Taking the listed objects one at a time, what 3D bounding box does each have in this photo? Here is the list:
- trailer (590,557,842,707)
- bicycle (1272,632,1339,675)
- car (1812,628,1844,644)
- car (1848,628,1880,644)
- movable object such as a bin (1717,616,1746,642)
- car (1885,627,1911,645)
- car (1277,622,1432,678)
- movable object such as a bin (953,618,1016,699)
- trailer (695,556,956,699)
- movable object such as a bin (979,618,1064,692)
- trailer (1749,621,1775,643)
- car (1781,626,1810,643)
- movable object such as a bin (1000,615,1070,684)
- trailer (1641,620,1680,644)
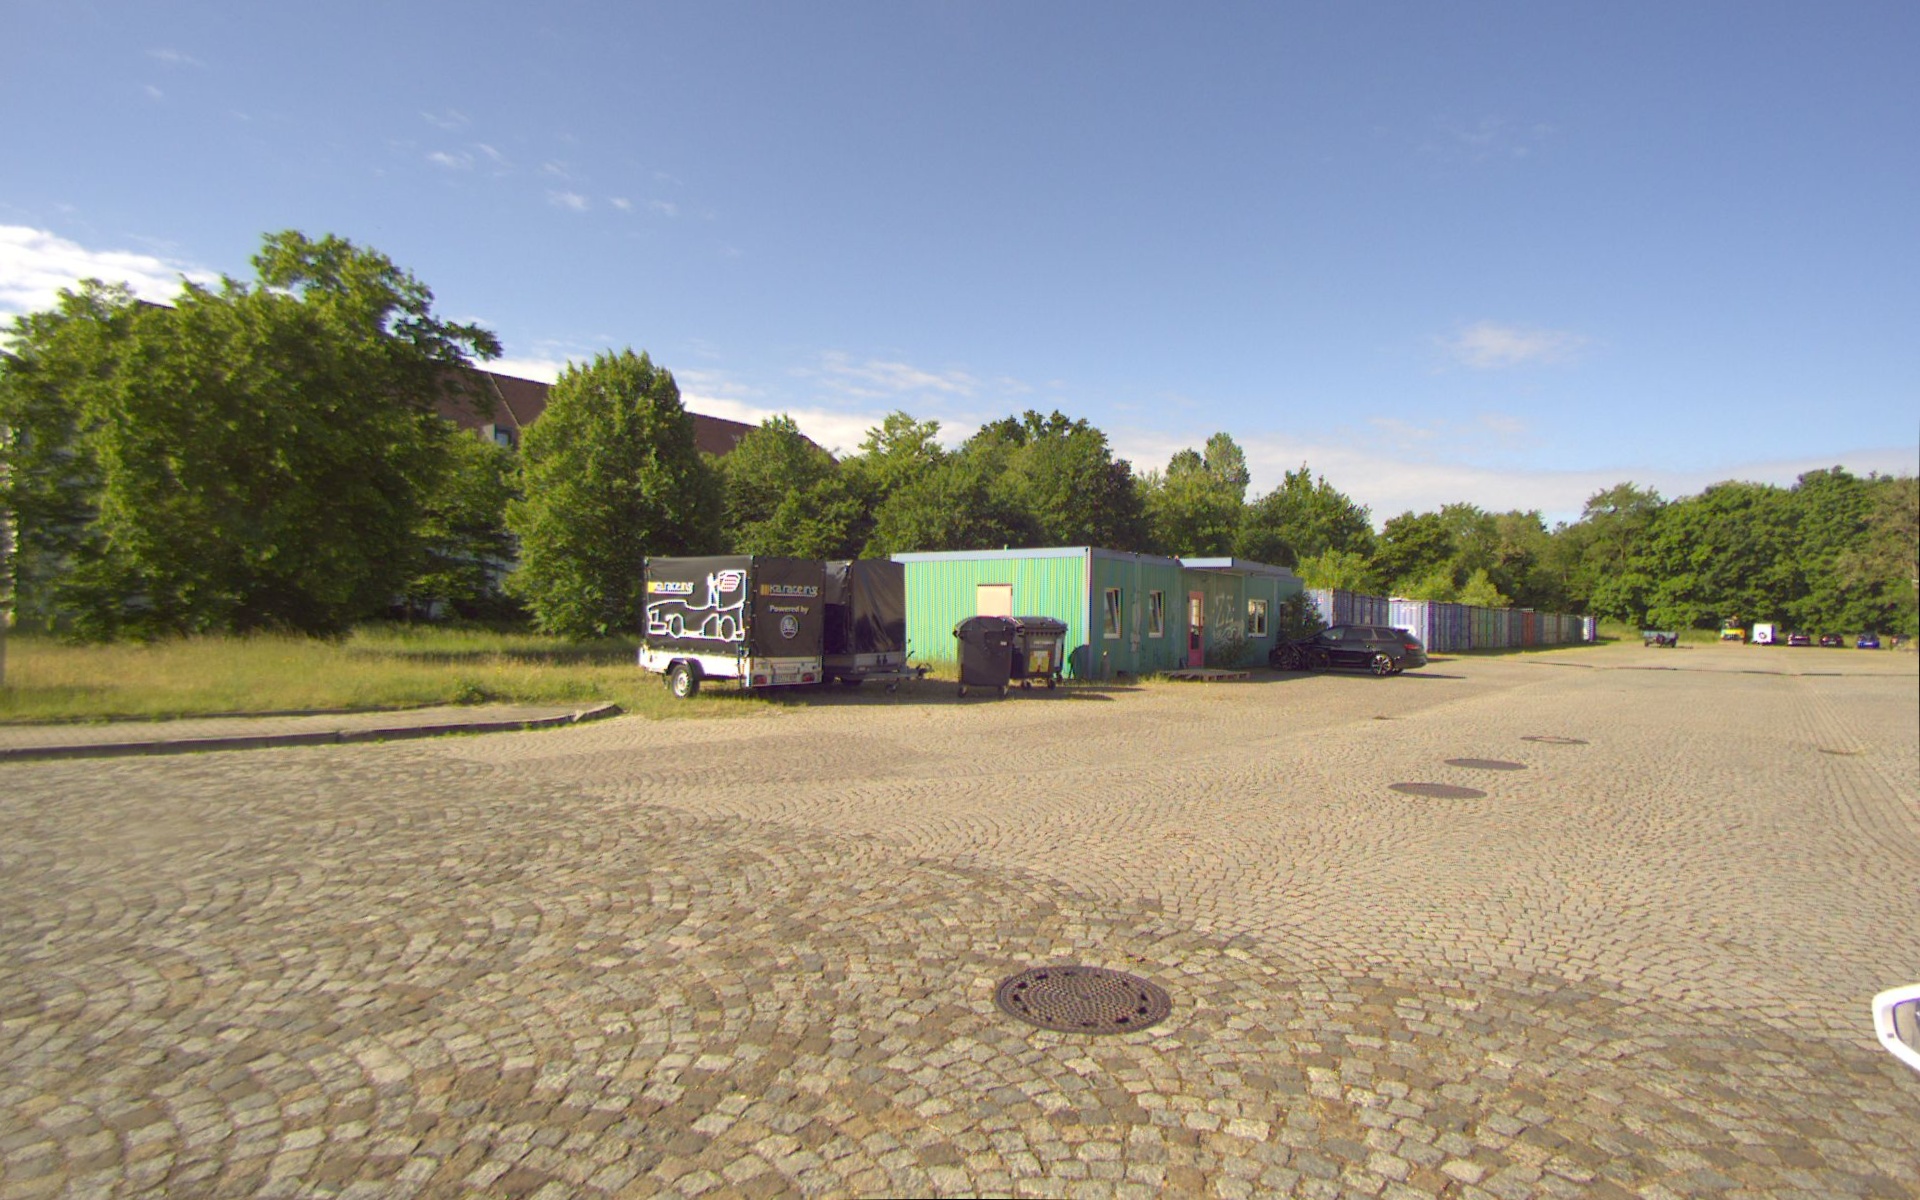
[{"bbox_3d":[-4.354,0.468,17.607,4.400,2.303,2.005,2,0,39],"label":"trailer"},{"bbox_3d":[10.016,1.535,29.120,1.687,1.116,0.671,2,1,39],"label":"bicycle"},{"bbox_3d":[83.705,3.427,96.856,3.973,1.482,1.974,2,-1,-44],"label":"car"},{"bbox_3d":[85.701,3.379,95.186,3.973,1.439,1.974,2,-1,-44],"label":"car"},{"bbox_3d":[79.114,2.983,103.022,1.972,2.653,3.977,-1,-2,43],"label":"movable object such as a bin"},{"bbox_3d":[88.412,3.398,94.674,3.973,1.584,1.669,2,-1,-44],"label":"car"},{"bbox_3d":[11.711,1.435,29.872,3.994,1.431,1.727,2,-1,34],"label":"car"},{"bbox_3d":[0.429,1.034,18.309,1.027,1.404,1.364,1,-1,-4],"label":"movable object such as a bin"},{"bbox_3d":[-2.623,0.437,19.043,4.773,2.423,1.937,1,0,34],"label":"trailer"},{"bbox_3d":[1.242,1.085,20.209,1.068,1.404,1.361,0,-1,42],"label":"movable object such as a bin"},{"bbox_3d":[80.825,3.246,101.228,1.774,2.118,3.949,0,-1,43],"label":"trailer"},{"bbox_3d":[81.745,3.403,98.251,3.973,1.606,1.843,2,-1,-44],"label":"car"},{"bbox_3d":[1.672,1.065,22.103,1.068,1.456,1.407,0,-1,27],"label":"movable object such as a bin"},{"bbox_3d":[63.454,2.875,90.934,2.379,2.040,4.152,3,1,41],"label":"trailer"}]
